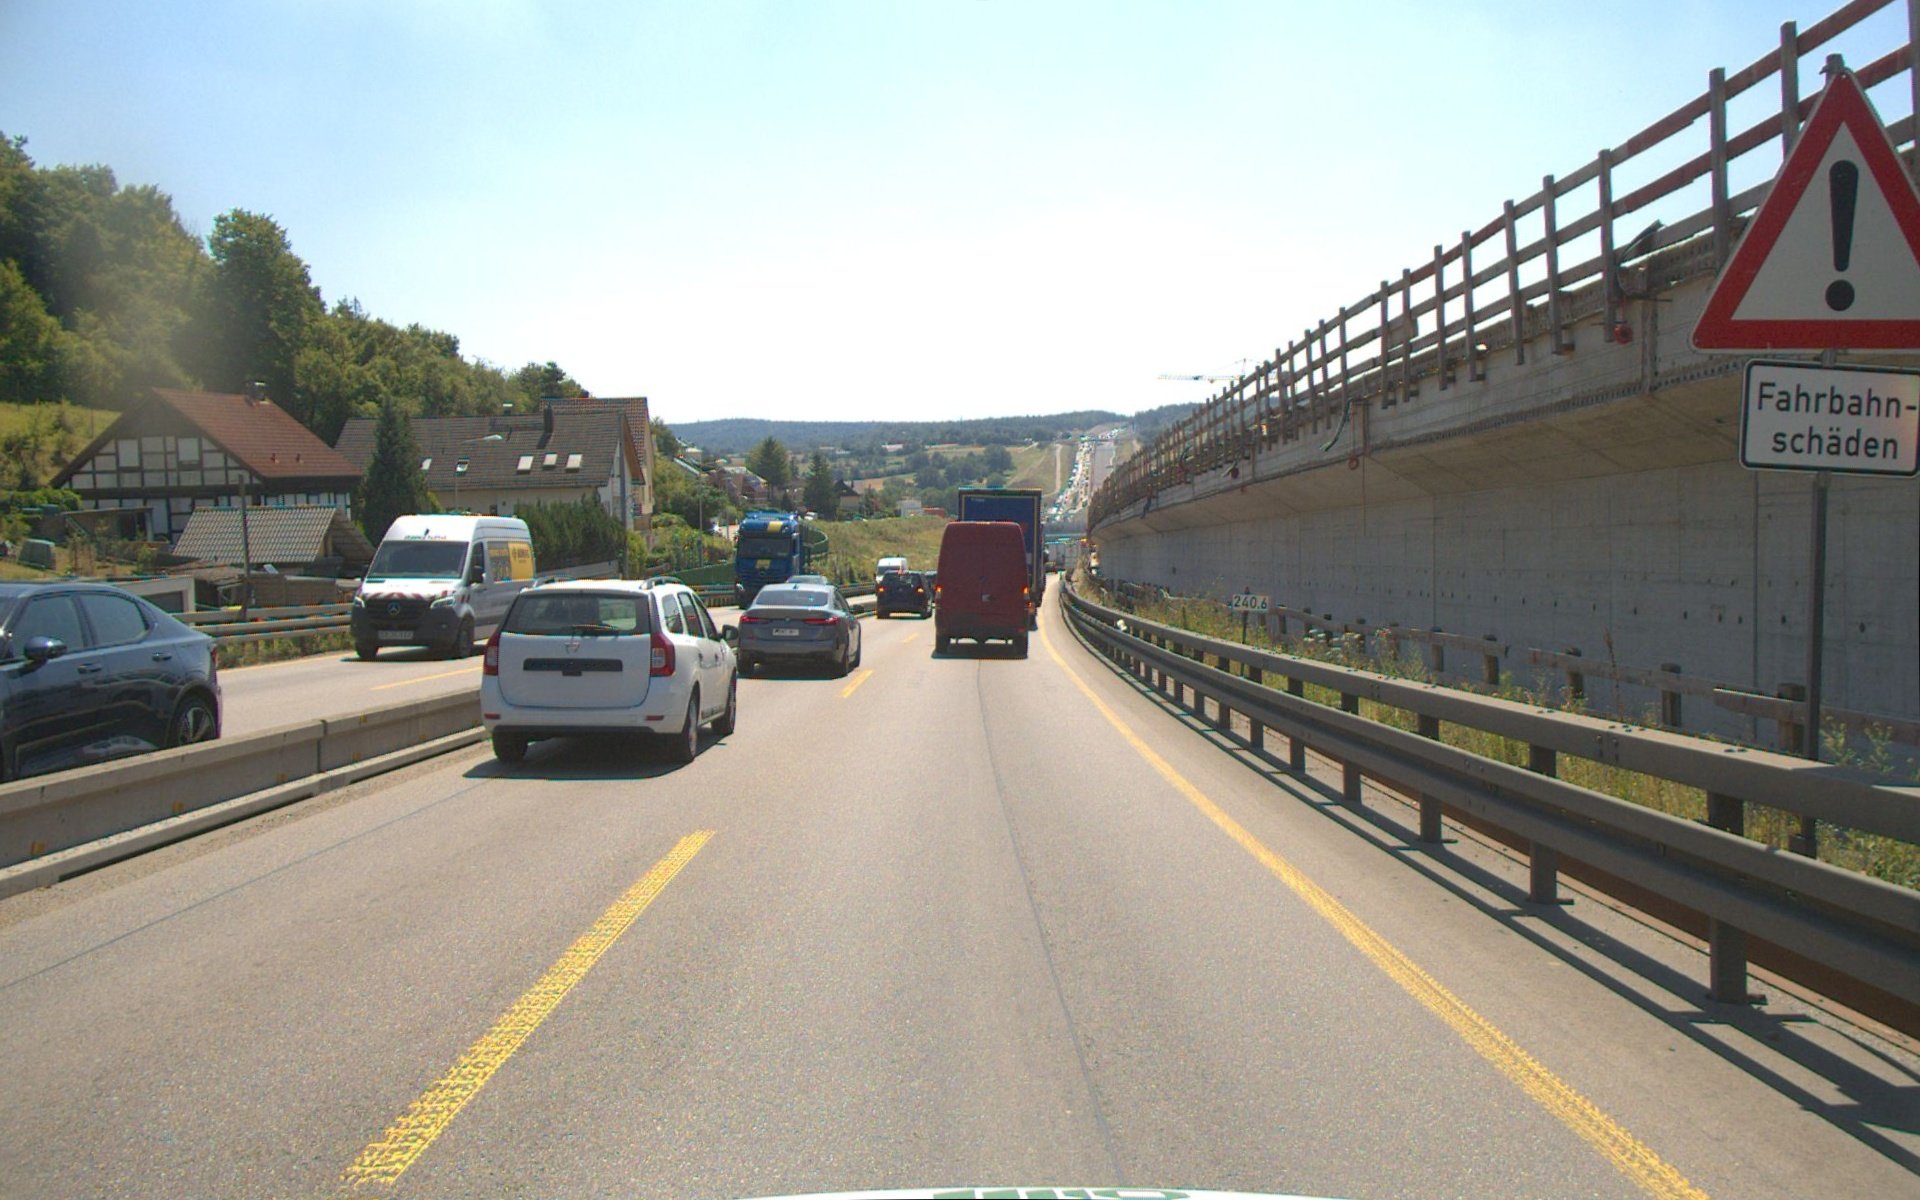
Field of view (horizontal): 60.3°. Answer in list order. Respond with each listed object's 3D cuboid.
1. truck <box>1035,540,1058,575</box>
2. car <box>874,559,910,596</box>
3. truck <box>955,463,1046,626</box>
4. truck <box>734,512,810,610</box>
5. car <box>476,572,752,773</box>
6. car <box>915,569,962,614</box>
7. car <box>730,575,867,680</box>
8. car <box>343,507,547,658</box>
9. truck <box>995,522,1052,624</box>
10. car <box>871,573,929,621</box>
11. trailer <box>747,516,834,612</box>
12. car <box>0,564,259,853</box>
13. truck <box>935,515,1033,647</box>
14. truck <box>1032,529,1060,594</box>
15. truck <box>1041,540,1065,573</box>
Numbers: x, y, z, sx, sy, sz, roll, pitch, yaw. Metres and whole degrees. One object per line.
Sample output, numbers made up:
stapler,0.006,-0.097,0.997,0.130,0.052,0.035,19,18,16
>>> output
truck,11.724,-5.716,223.993,3.004,4.458,8.561,0,-1,4
car,-5.015,-1.648,122.272,1.951,2.551,5.518,0,-1,5
truck,1.315,-1.619,54.656,2.728,4.900,9.685,0,-1,1
truck,-7.977,-1.591,70.724,2.456,4.034,5.176,0,-1,2
car,-2.976,0.573,15.077,1.618,1.509,4.265,-2,0,-1
car,-0.891,-0.353,71.986,1.693,1.870,4.002,0,0,4
car,-2.576,0.431,27.258,1.758,1.511,4.049,3,-1,1
car,-9.775,-0.340,31.985,1.964,2.649,5.980,0,1,1
truck,3.164,-1.243,84.296,2.728,4.900,9.685,0,-1,1
car,-2.077,-0.086,58.362,1.772,1.636,3.720,0,-1,2
trailer,-7.755,-1.508,76.997,2.456,4.035,11.401,0,-1,2
car,-6.160,0.578,10.173,1.813,1.573,4.558,0,1,-1
truck,0.475,-0.353,34.787,1.953,2.624,3.999,0,-1,0
truck,6.072,-2.660,116.484,1.951,4.458,4.002,0,-1,4
truck,13.863,-6.424,245.409,3.394,4.458,8.561,0,-1,4
